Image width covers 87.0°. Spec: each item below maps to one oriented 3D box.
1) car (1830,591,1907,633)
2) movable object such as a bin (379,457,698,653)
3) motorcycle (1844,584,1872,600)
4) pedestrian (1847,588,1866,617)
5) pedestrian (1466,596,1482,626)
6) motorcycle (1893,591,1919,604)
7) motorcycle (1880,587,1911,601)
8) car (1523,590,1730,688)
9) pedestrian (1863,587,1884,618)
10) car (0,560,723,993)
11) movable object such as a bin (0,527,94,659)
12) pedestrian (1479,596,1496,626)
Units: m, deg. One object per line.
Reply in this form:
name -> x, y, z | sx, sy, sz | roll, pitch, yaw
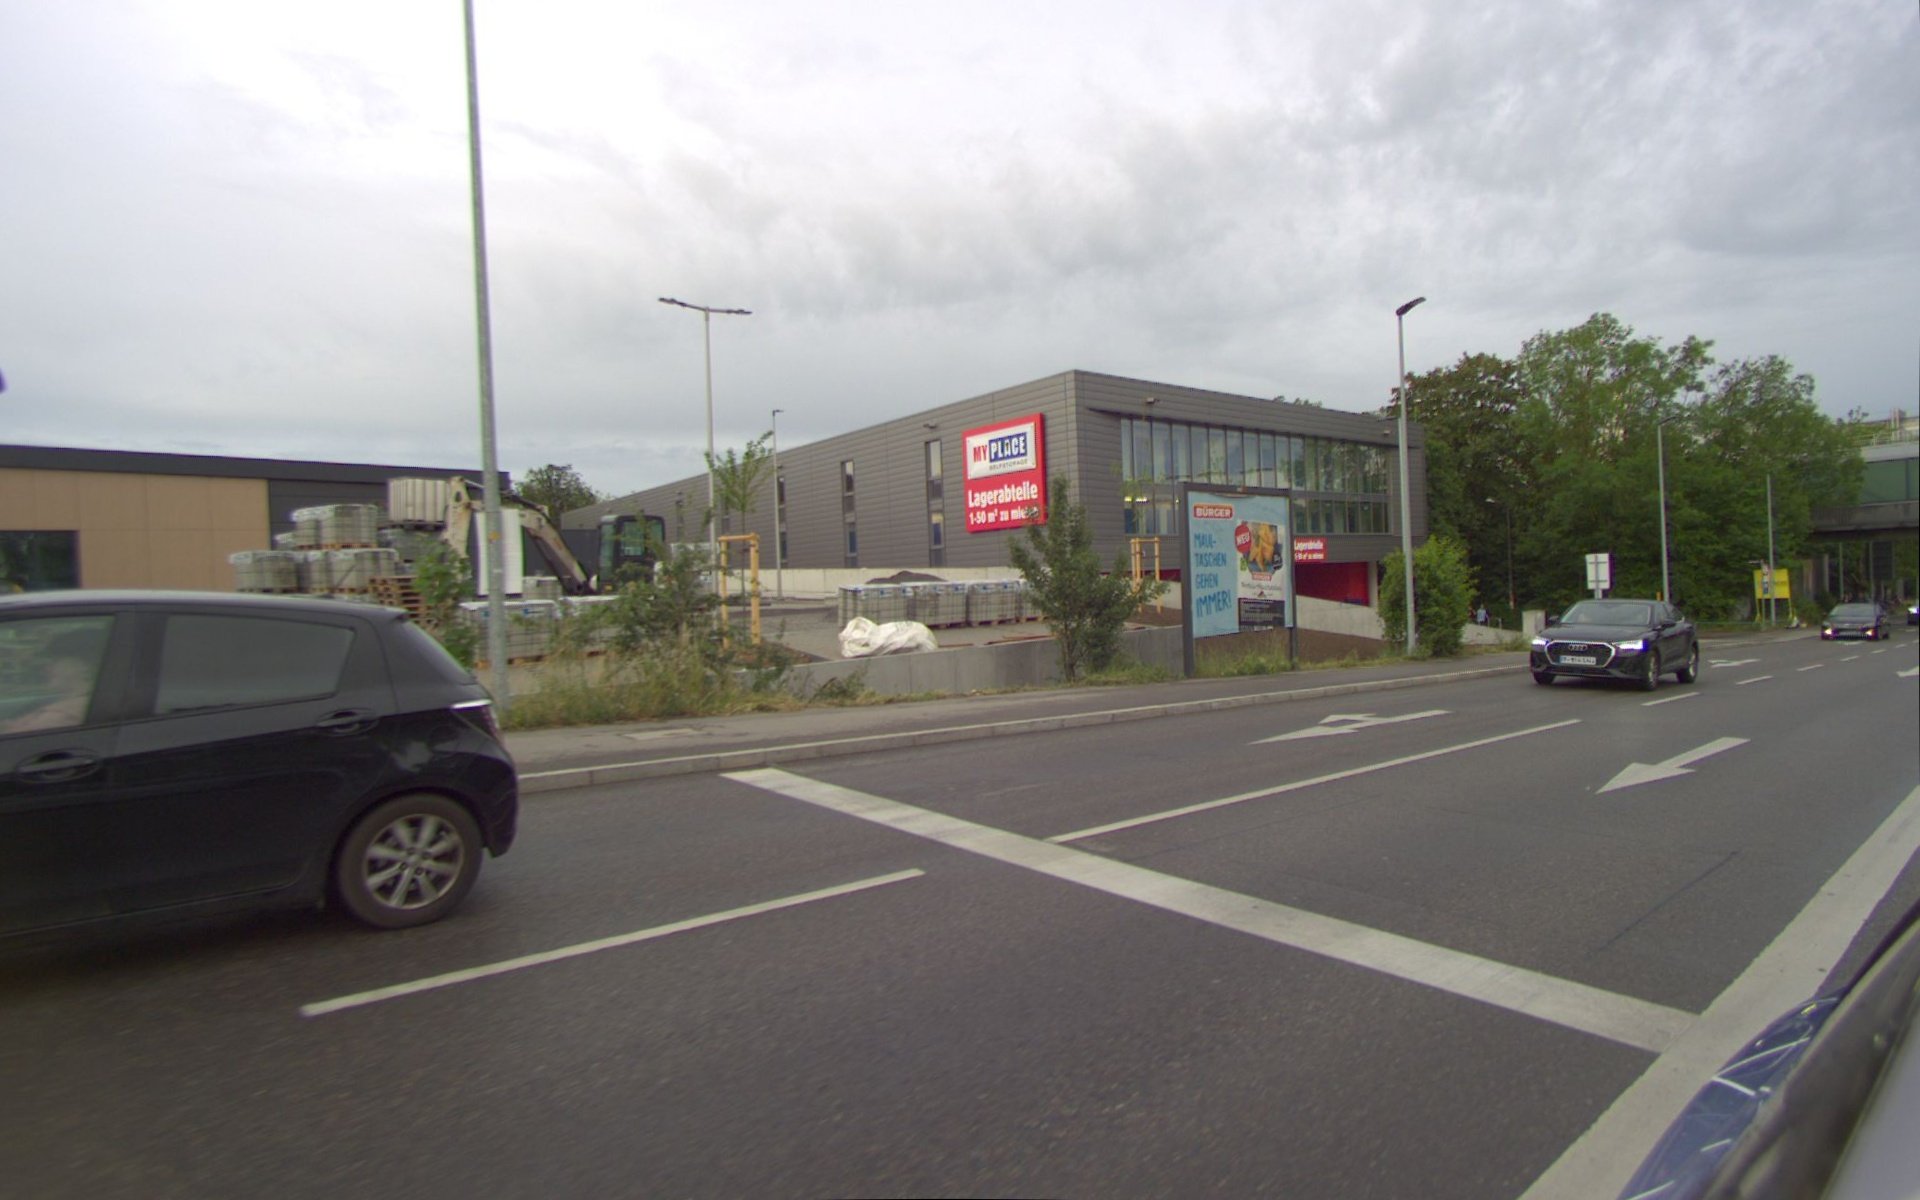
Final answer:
car -> 36.397, 0.483, 40.525 | 4.440, 1.448, 1.747 | -3, 0, -41
movable object such as a bin -> -8.084, -0.738, 19.882 | 2.299, 3.318, 5.344 | -2, -2, 41
motorcycle -> 86.475, -0.769, 97.476 | 1.928, 1.382, 0.498 | -4, -2, 45
pedestrian -> 50.884, 0.140, 57.459 | 0.567, 1.616, 0.653 | -1, 0, -29
pedestrian -> 31.418, 0.675, 61.838 | 0.612, 1.839, 0.587 | -1, -1, -13
motorcycle -> 88.155, -0.215, 94.321 | 0.484, 1.165, 1.658 | -2, -1, -33
motorcycle -> 80.968, -0.511, 87.604 | 1.841, 1.206, 0.515 | -1, 0, 34
car -> 12.405, 0.609, 18.663 | 5.511, 1.564, 1.818 | 0, 0, -41
pedestrian -> 51.303, 0.139, 56.838 | 0.874, 1.743, 0.613 | -1, 0, -31
car -> -3.568, 0.639, 4.552 | 4.561, 1.488, 1.747 | -3, 0, -41
movable object such as a bin -> -20.643, -0.107, 21.378 | 1.860, 2.652, 4.988 | 0, -1, -19
pedestrian -> 32.444, 0.661, 62.237 | 0.588, 1.839, 0.587 | -1, -1, -13
